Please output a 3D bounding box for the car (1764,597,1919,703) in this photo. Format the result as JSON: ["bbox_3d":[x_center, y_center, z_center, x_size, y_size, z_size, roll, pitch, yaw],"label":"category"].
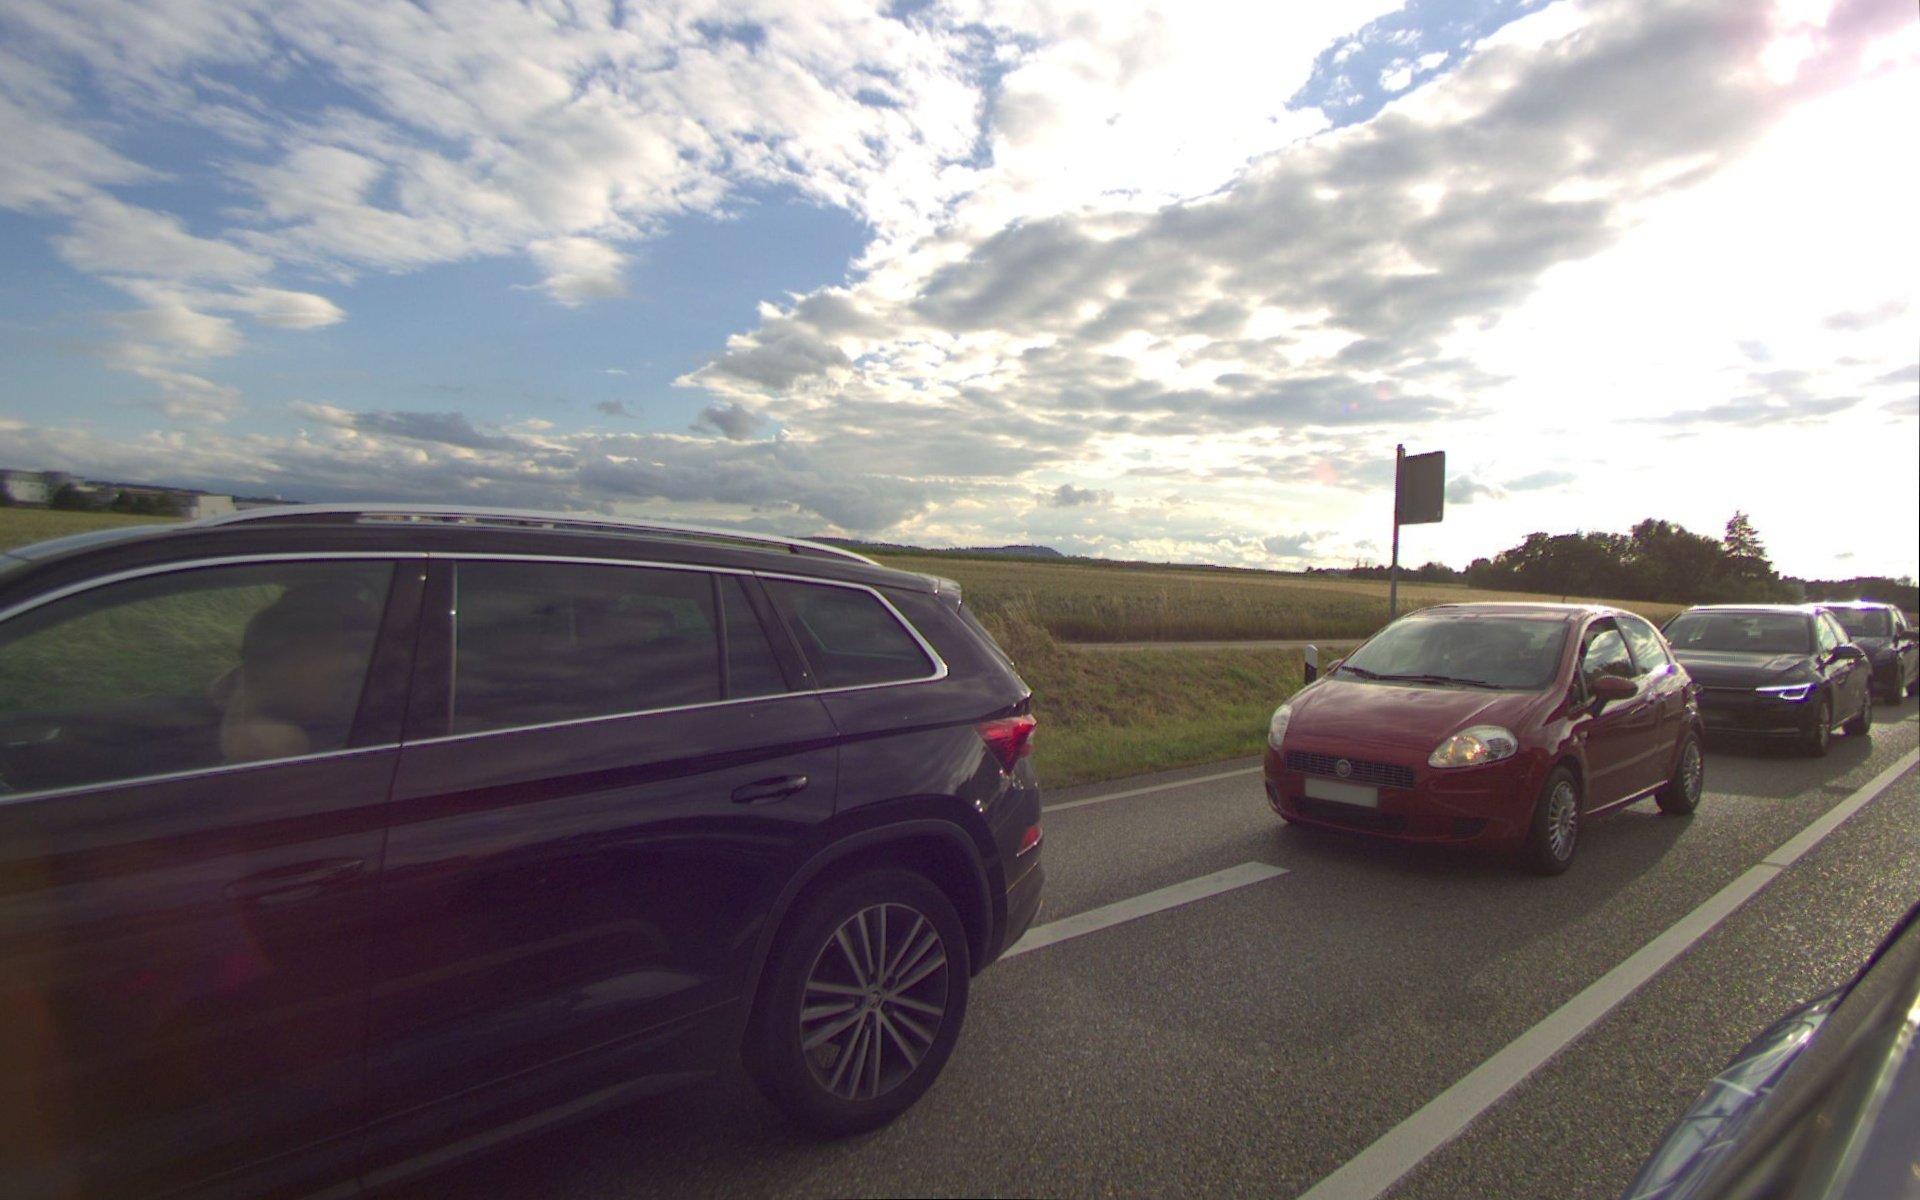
[{"bbox_3d":[14.519,0.703,16.257,3.962,1.475,1.797,0,0,-41],"label":"car"}]

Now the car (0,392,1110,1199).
[{"bbox_3d":[-1.798,0.532,2.556,4.477,1.730,1.839,-1,0,-41],"label":"car"}]

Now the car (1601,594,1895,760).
[{"bbox_3d":[8.695,0.684,11.055,3.962,1.475,1.797,0,0,-41],"label":"car"}]

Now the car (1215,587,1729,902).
[{"bbox_3d":[3.543,0.668,6.705,3.840,1.475,1.710,-1,0,-41],"label":"car"}]
